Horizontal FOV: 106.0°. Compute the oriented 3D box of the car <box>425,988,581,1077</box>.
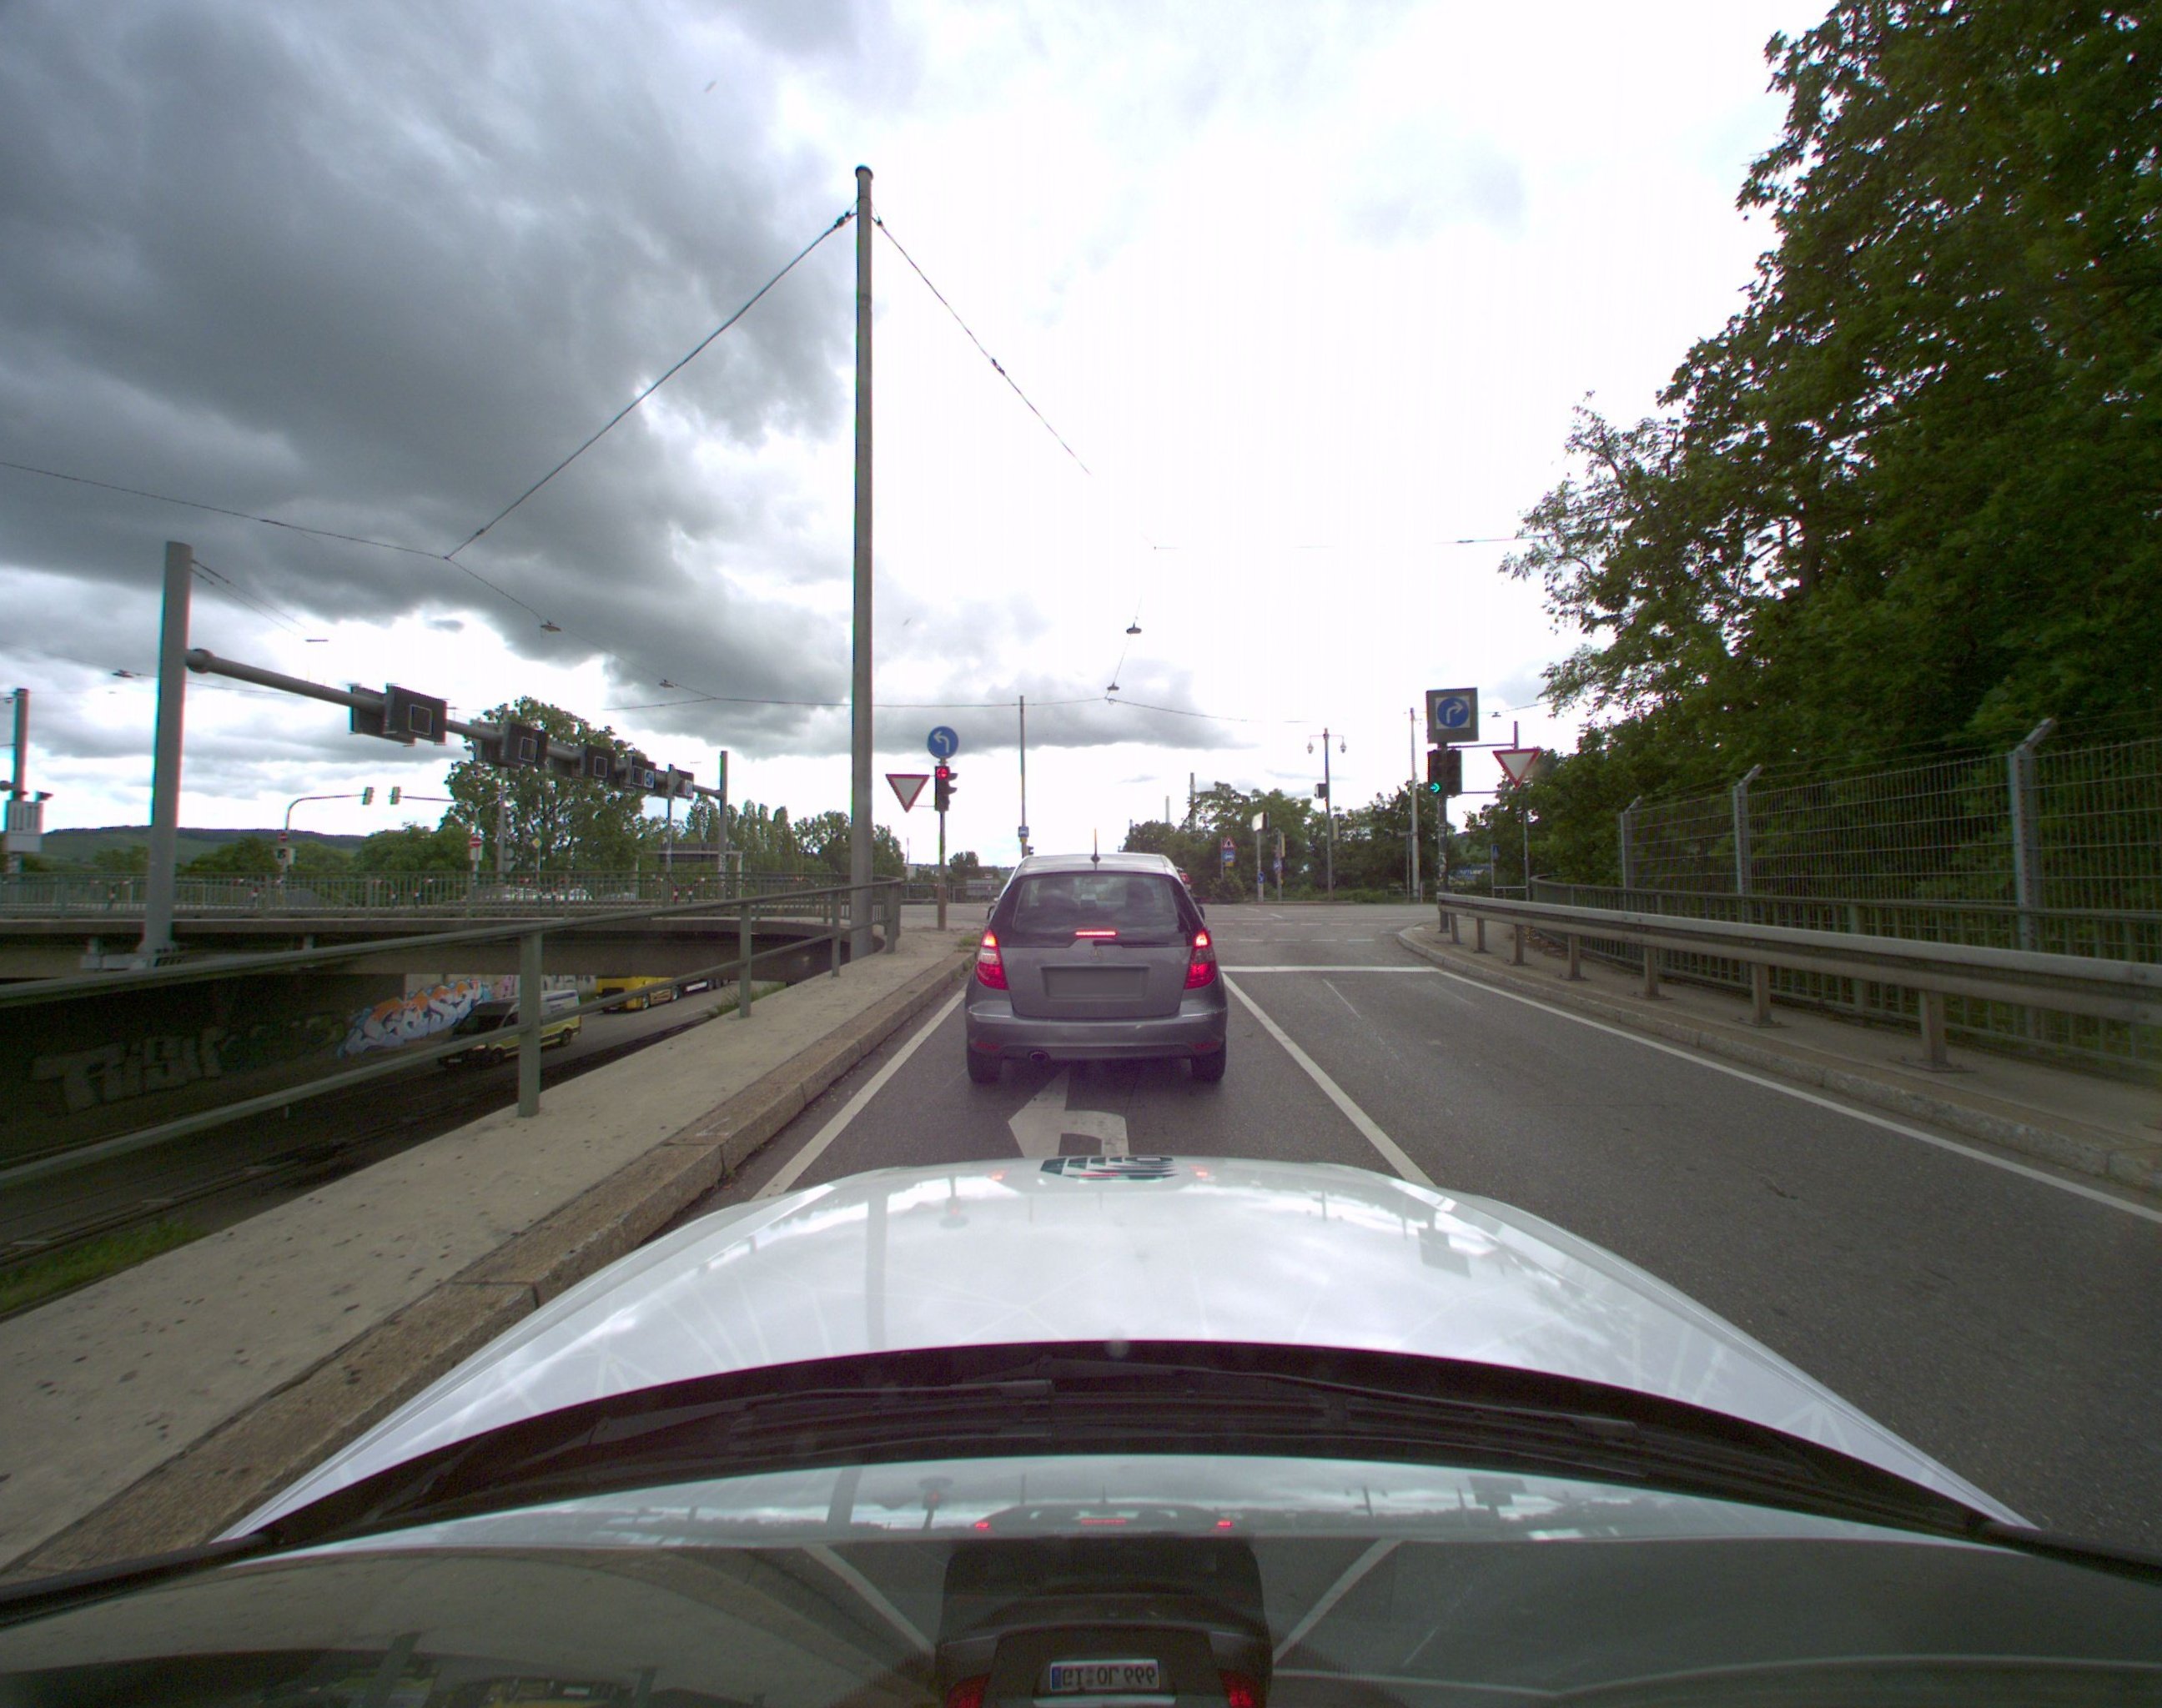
[{"bbox_3d":[-25.207,7.705,35.942,1.987,2.628,6.711,-3,-3,0],"label":"car"}]

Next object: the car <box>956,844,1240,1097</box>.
[{"bbox_3d":[0.164,0.731,6.783,1.733,1.543,3.542,0,-1,2],"label":"car"}]

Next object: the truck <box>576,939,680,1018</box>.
[{"bbox_3d":[-28.468,7.737,51.495,3.230,4.182,5.801,-2,-3,0],"label":"truck"}]

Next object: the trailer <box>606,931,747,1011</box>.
[{"bbox_3d":[-28.445,8.059,58.428,3.230,4.263,13.675,-2,-3,0],"label":"trailer"}]

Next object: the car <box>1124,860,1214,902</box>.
[{"bbox_3d":[5.949,1.956,56.508,2.451,2.681,7.696,0,-3,-26],"label":"car"}]
